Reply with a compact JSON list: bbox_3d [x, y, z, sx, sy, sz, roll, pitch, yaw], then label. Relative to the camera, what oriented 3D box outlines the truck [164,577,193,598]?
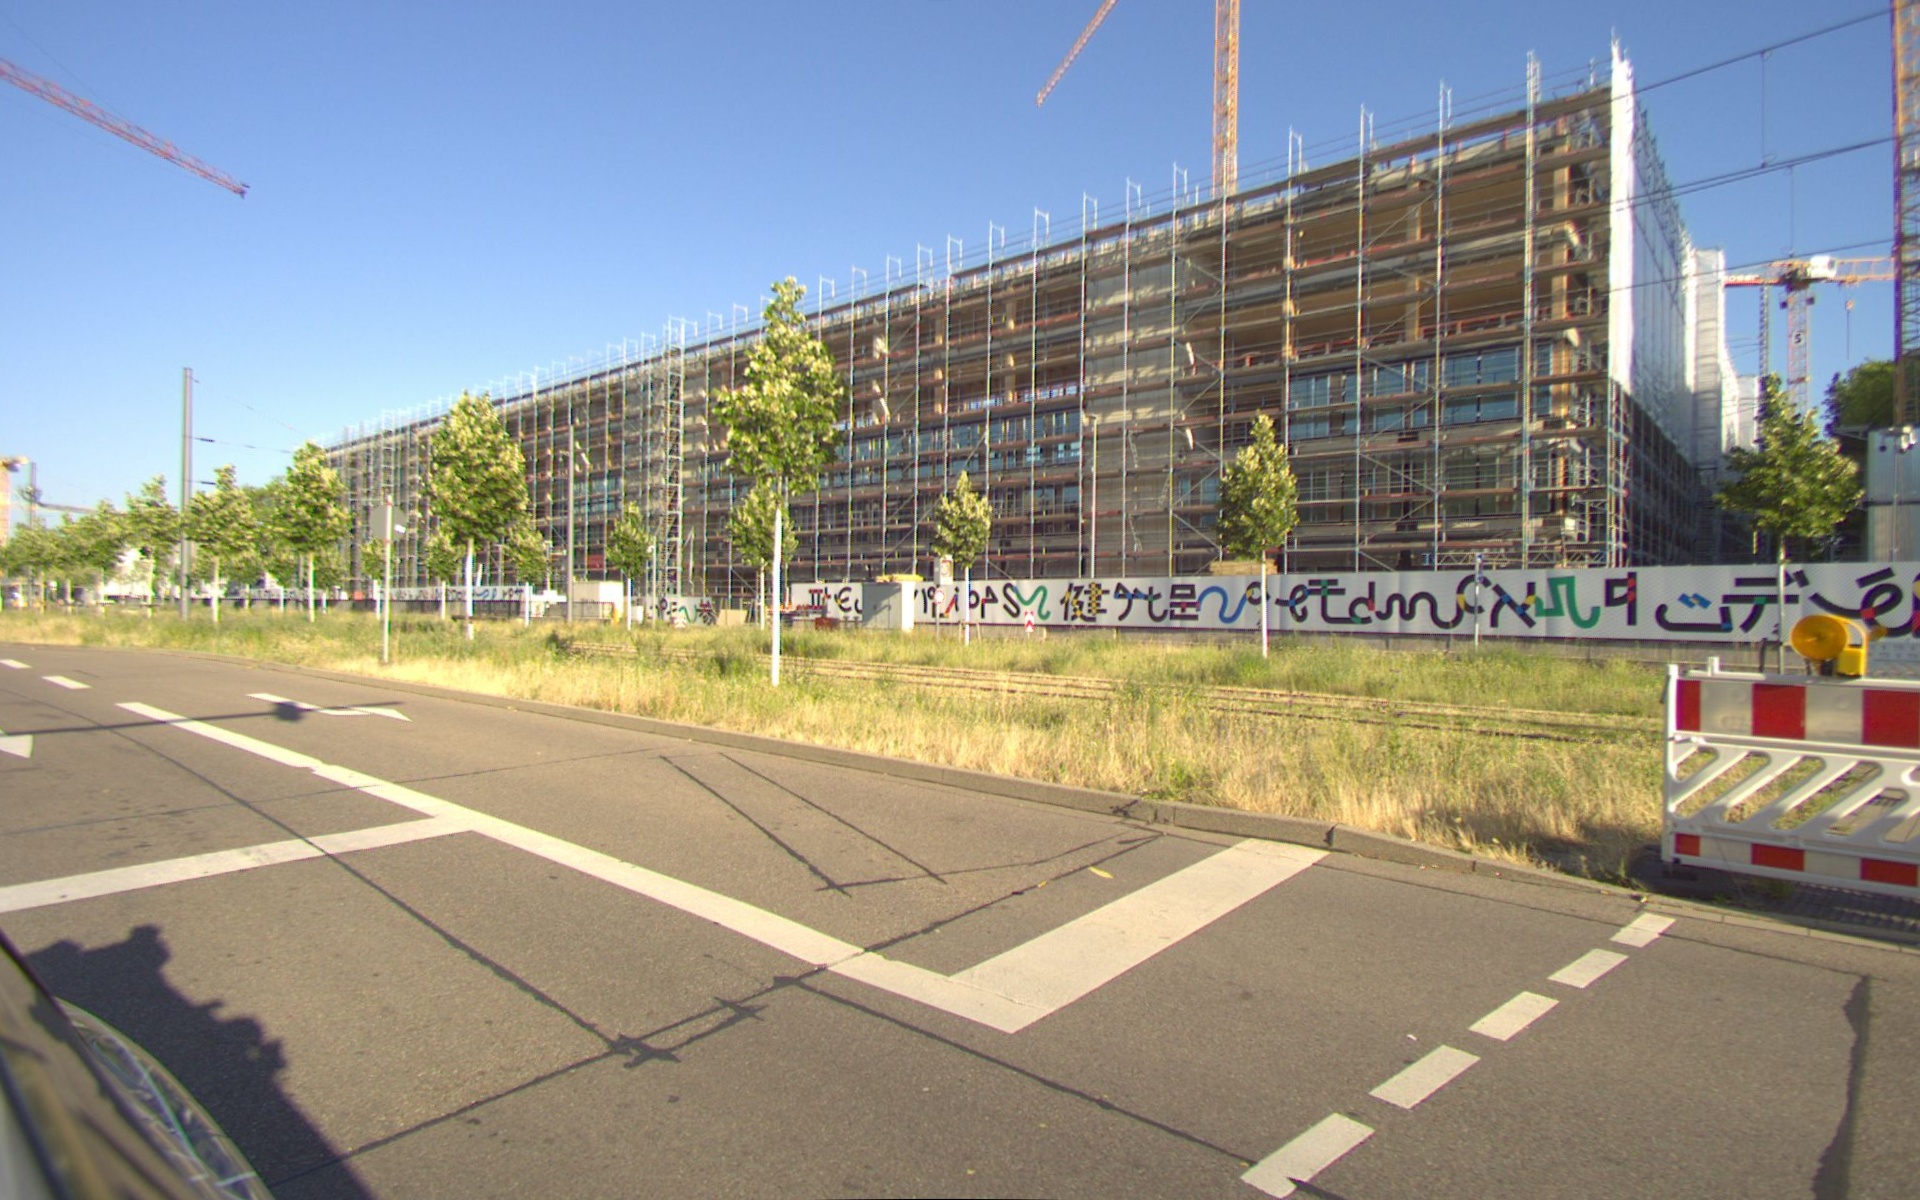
[{"bbox_3d":[-98.742,-1.559,127.856,4.740,2.593,2.115,0,-1,43],"label":"truck"}]

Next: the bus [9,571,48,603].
[{"bbox_3d":[-99.454,-1.311,107.985,2.686,3.247,8.660,2,-1,-45],"label":"bus"}]
